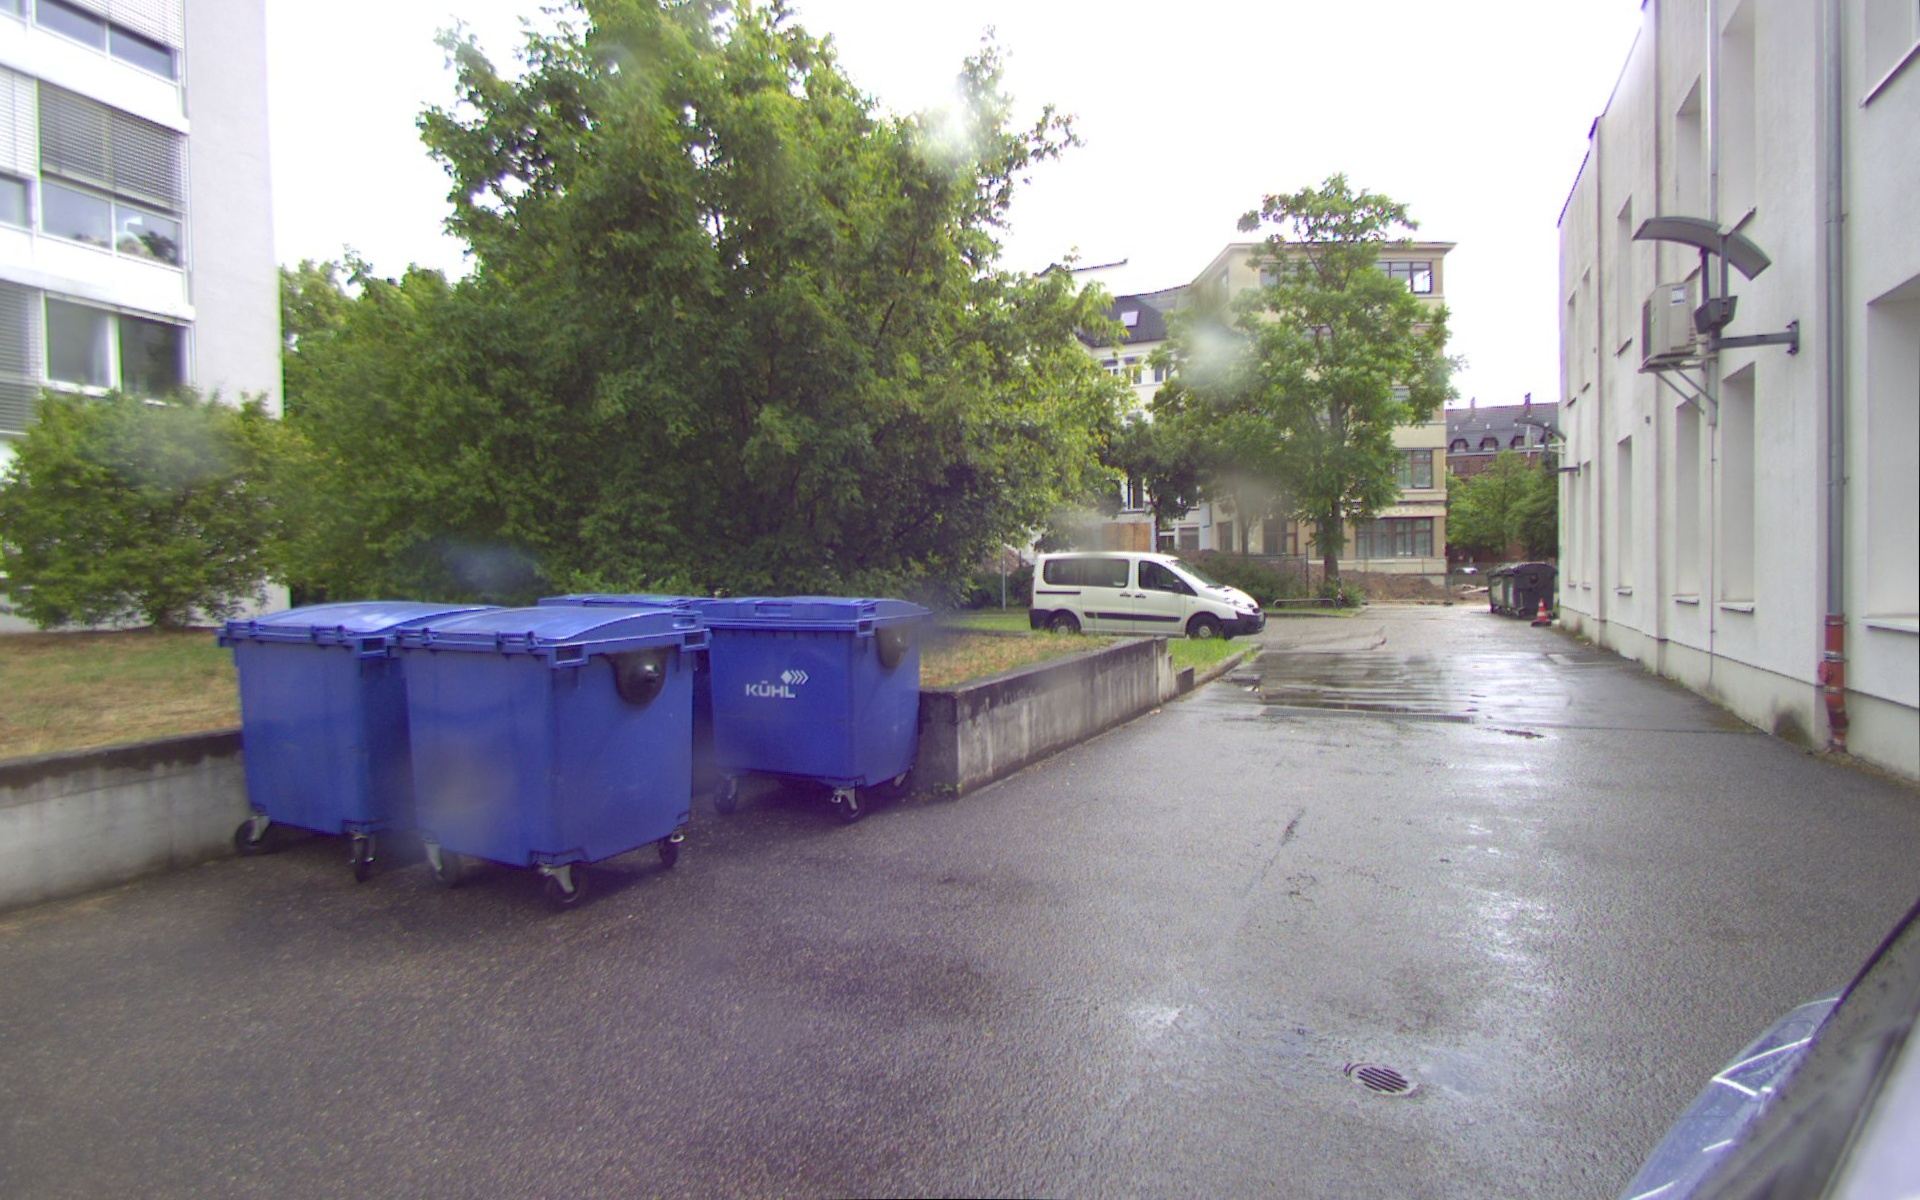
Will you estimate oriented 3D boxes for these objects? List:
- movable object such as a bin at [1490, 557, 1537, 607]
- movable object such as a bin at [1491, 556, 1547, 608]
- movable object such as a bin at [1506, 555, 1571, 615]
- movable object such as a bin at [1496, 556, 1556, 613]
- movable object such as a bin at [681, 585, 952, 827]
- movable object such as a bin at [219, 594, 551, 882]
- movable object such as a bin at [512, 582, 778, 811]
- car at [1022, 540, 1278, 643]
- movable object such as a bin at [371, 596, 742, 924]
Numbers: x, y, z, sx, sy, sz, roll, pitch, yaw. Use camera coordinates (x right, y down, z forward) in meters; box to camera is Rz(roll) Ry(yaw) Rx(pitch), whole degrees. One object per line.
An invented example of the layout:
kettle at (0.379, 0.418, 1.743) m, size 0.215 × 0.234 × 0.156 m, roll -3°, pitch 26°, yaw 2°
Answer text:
movable object such as a bin at (17.253, -0.559, 31.535) m, size 1.097 × 1.491 × 1.467 m, roll -1°, pitch 1°, yaw 35°
movable object such as a bin at (16.626, -0.528, 30.142) m, size 1.153 × 1.502 × 1.394 m, roll -1°, pitch -1°, yaw 18°
movable object such as a bin at (14.875, -0.412, 26.077) m, size 1.153 × 1.501 × 1.585 m, roll 1°, pitch 2°, yaw 20°
movable object such as a bin at (15.379, -0.457, 27.553) m, size 1.153 × 1.501 × 1.488 m, roll 1°, pitch 2°, yaw 20°
movable object such as a bin at (-0.885, 0.583, 6.440) m, size 1.329 × 1.307 × 1.086 m, roll 1°, pitch 3°, yaw 27°
movable object such as a bin at (-3.104, 0.650, 5.538) m, size 1.177 × 1.320 × 1.097 m, roll 1°, pitch 2°, yaw 26°
movable object such as a bin at (-2.127, 0.570, 6.938) m, size 1.284 × 1.353 × 1.186 m, roll 1°, pitch 2°, yaw 27°
car at (3.942, -0.173, 21.138) m, size 4.842 × 1.949 × 2.081 m, roll -1°, pitch 2°, yaw 27°
movable object such as a bin at (-1.965, 0.666, 5.013) m, size 1.363 × 1.320 × 1.073 m, roll 1°, pitch 2°, yaw 27°
